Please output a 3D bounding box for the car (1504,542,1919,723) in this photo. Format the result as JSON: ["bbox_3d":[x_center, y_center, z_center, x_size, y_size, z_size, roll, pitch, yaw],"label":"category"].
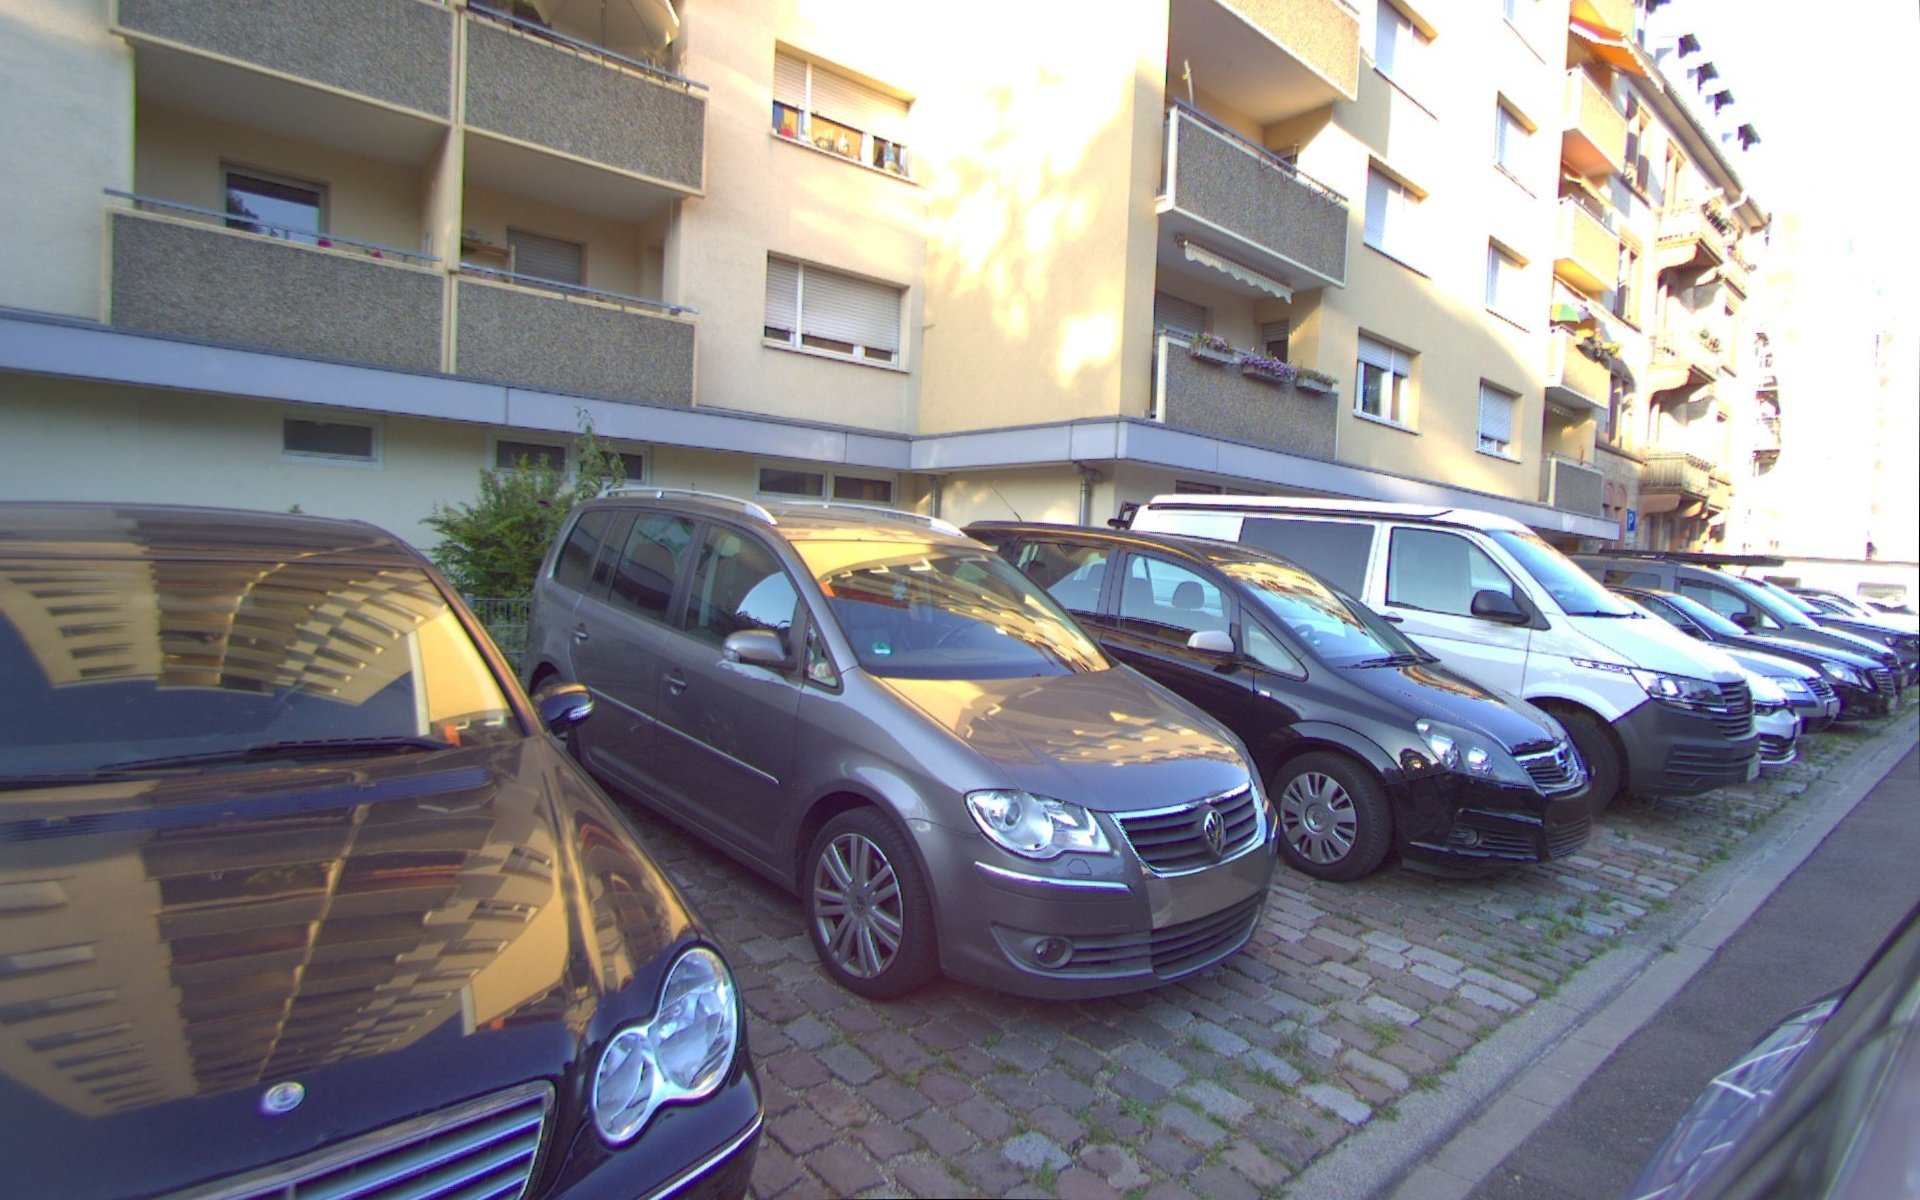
[{"bbox_3d":[10.628,0.269,14.422,1.814,2.004,4.647,-2,6,-41],"label":"car"}]

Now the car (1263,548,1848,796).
[{"bbox_3d":[5.359,0.421,9.648,1.814,1.650,4.413,-2,6,-41],"label":"car"}]

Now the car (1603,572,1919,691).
[{"bbox_3d":[14.180,0.435,17.821,1.813,1.572,4.416,-2,5,-39],"label":"car"}]

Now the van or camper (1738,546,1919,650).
[{"bbox_3d":[25.052,-0.031,27.288,2.014,2.534,6.074,1,4,-41],"label":"van or camper"}]

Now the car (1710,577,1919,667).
[{"bbox_3d":[19.271,0.433,22.008,1.813,1.572,4.415,-2,6,-40],"label":"car"}]

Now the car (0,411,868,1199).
[{"bbox_3d":[-2.358,0.378,3.006,1.815,1.549,4.410,-2,6,-43],"label":"car"}]

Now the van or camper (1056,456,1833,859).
[{"bbox_3d":[3.434,0.059,8.183,2.006,2.192,5.144,0,7,-43],"label":"van or camper"}]

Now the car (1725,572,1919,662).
[{"bbox_3d":[21.029,0.345,23.838,1.812,1.769,4.418,-1,5,-37],"label":"car"}]

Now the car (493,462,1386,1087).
[{"bbox_3d":[-0.556,0.235,4.915,1.815,1.680,4.412,-2,7,-43],"label":"car"}]

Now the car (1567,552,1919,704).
[{"bbox_3d":[12.379,0.309,15.849,1.814,1.885,4.522,0,4,-42],"label":"car"}]

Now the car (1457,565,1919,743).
[{"bbox_3d":[8.835,0.471,12.534,1.814,1.581,4.413,-2,6,-41],"label":"car"}]

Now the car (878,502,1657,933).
[{"bbox_3d":[1.540,0.320,6.376,1.752,1.680,4.334,-2,7,-43],"label":"car"}]

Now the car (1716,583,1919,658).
[{"bbox_3d":[22.411,0.454,26.039,1.813,1.638,4.414,-2,4,-40],"label":"car"}]

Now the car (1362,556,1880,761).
[{"bbox_3d":[7.022,0.424,11.174,1.814,1.611,4.413,-2,6,-41],"label":"car"}]
